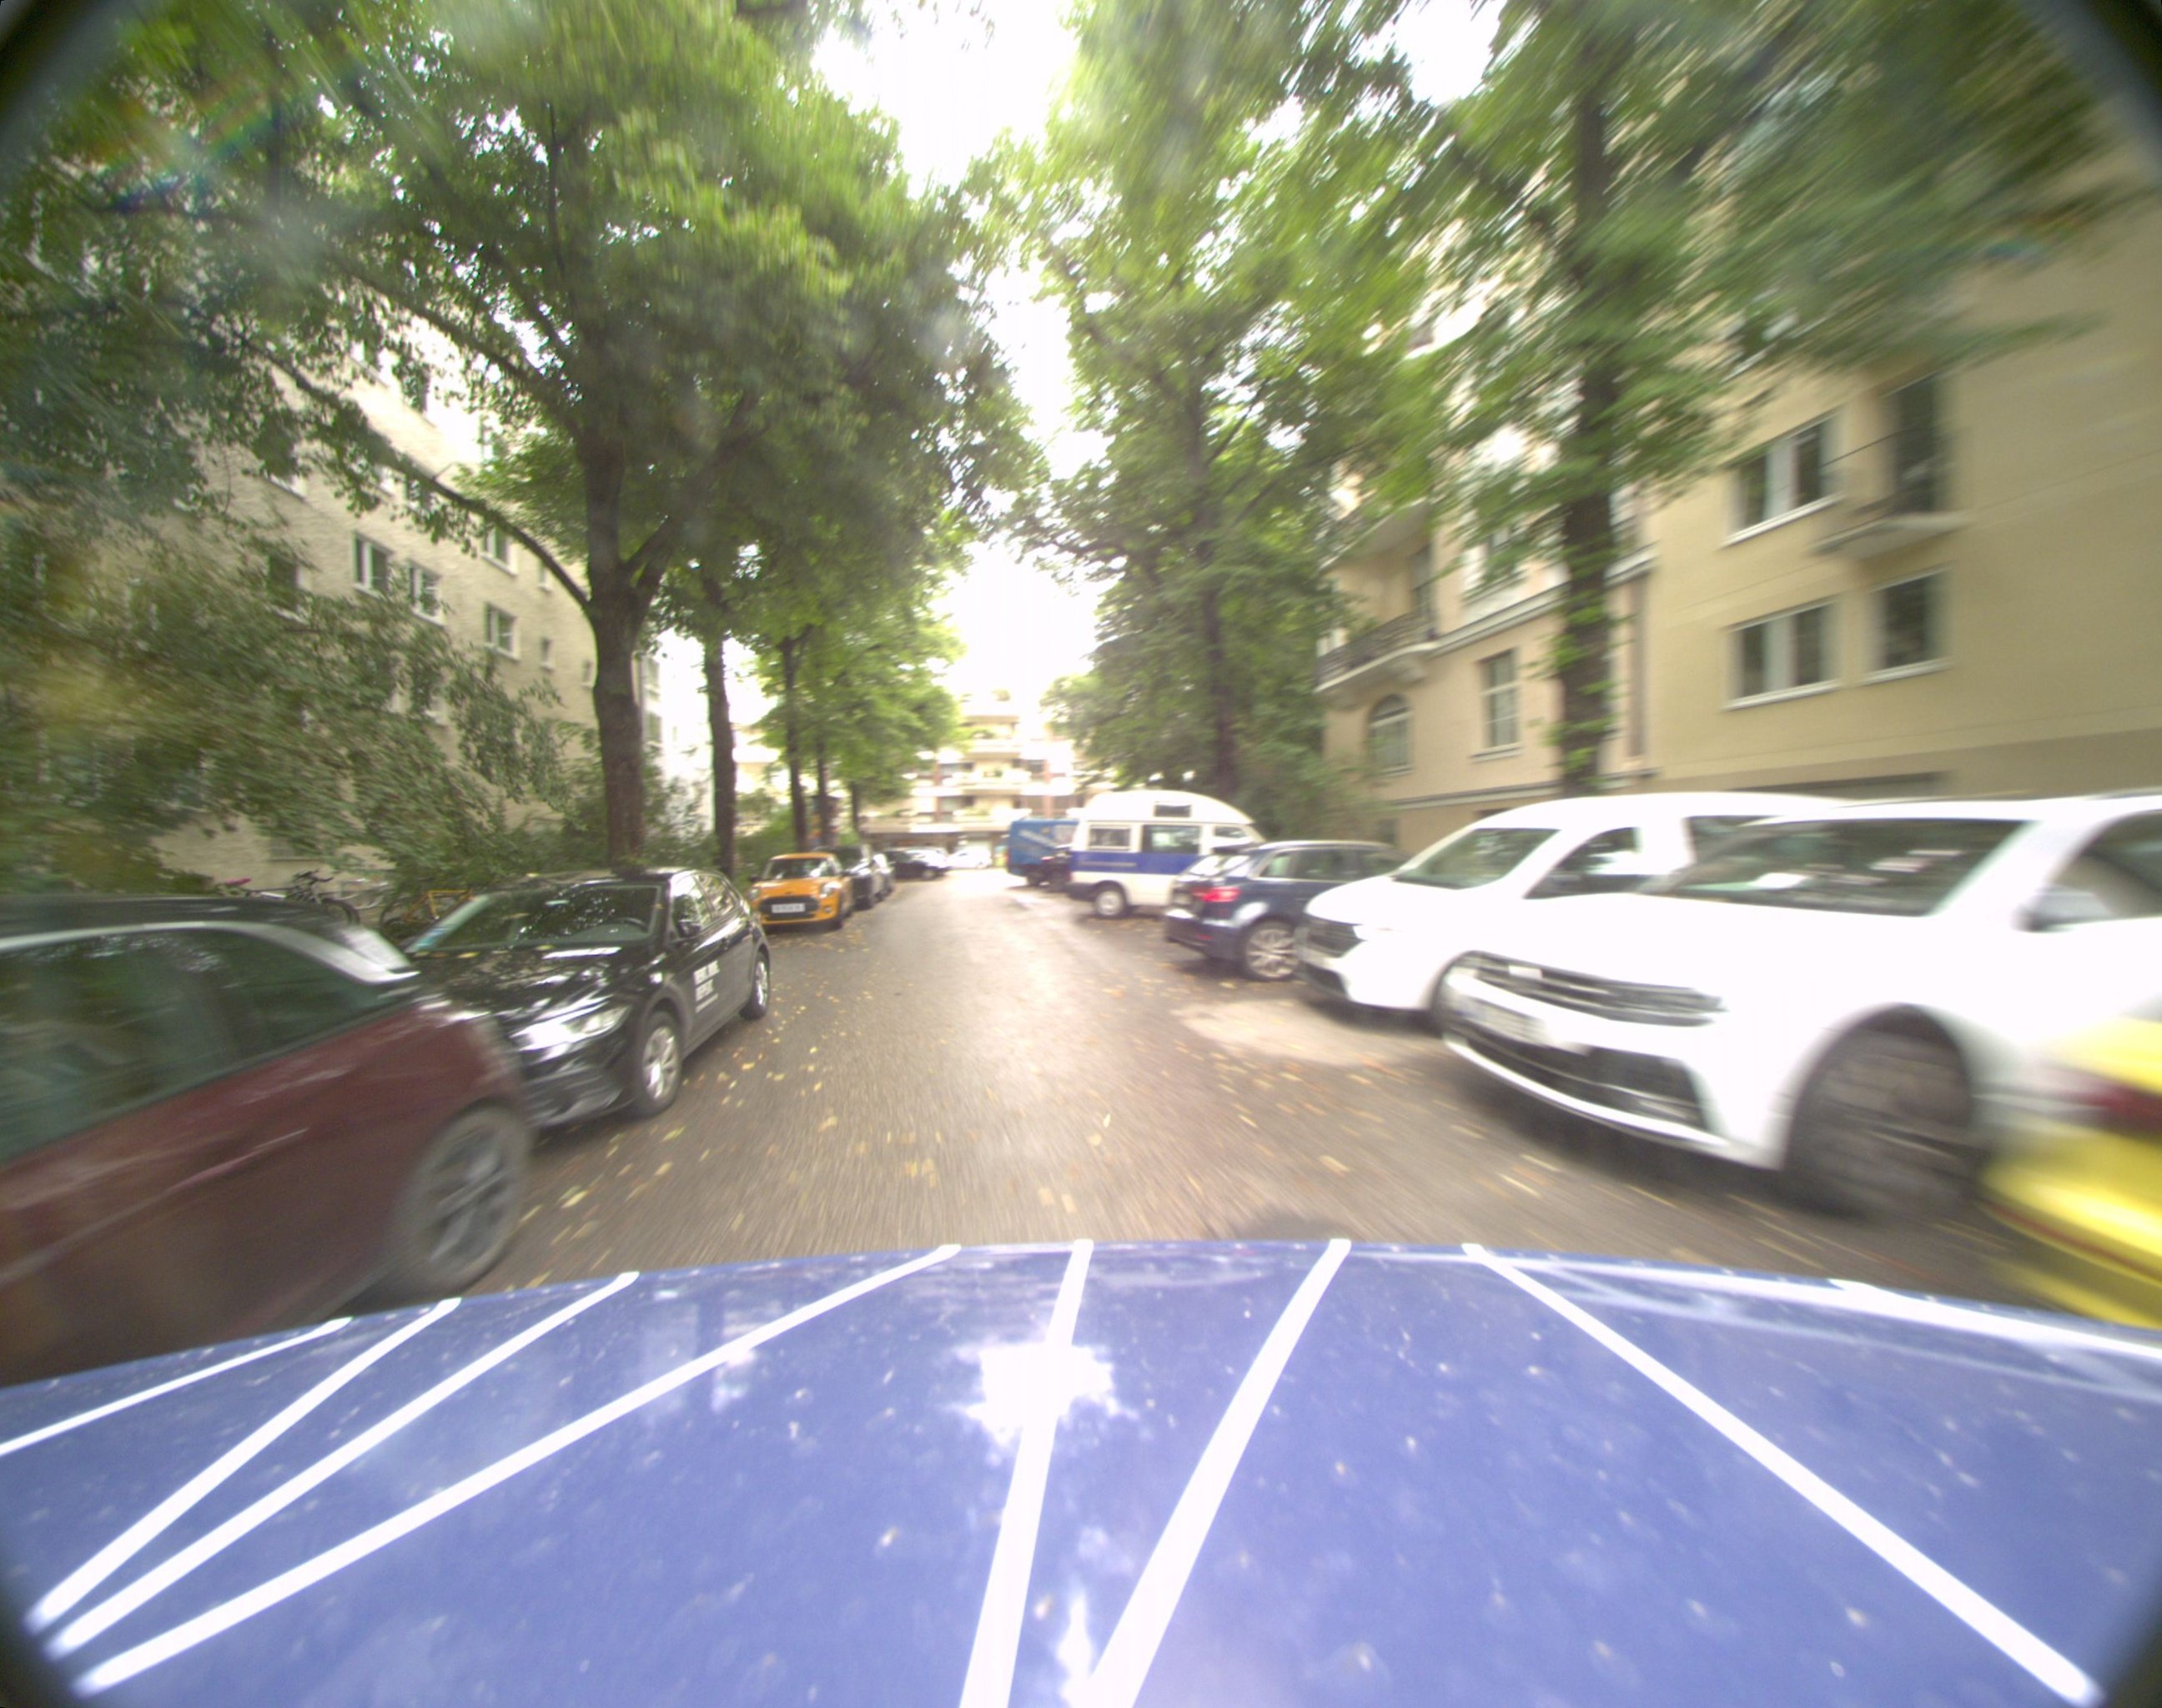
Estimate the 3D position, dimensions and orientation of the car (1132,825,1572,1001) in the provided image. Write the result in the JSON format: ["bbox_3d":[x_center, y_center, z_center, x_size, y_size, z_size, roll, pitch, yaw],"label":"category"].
[{"bbox_3d":[2.875,0.542,8.509,4.246,1.590,1.916,-1,1,-10],"label":"car"}]

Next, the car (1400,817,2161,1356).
[{"bbox_3d":[4.027,0.659,3.640,4.246,1.611,1.916,-1,1,-11],"label":"car"}]

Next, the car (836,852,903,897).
[{"bbox_3d":[-7.114,0.647,25.856,1.698,1.351,3.753,-1,1,-8],"label":"car"}]

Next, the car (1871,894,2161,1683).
[{"bbox_3d":[4.241,0.818,1.368,4.246,1.459,1.916,-1,1,-11],"label":"car"}]

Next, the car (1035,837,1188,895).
[{"bbox_3d":[0.909,0.333,22.724,4.098,1.594,1.907,-1,1,28],"label":"car"}]

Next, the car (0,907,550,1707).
[{"bbox_3d":[-2.886,1.004,1.199,1.733,1.488,3.706,-1,1,-6],"label":"car"}]

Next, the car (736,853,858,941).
[{"bbox_3d":[-5.423,0.736,14.957,1.698,1.430,3.772,-2,1,-13],"label":"car"}]

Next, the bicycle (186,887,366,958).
[{"bbox_3d":[-11.887,0.990,11.282,1.760,0.908,0.532,-2,1,-18],"label":"bicycle"}]

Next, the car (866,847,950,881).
[{"bbox_3d":[-8.061,0.449,35.538,3.692,1.470,1.853,-2,1,-12],"label":"car"}]

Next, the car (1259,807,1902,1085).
[{"bbox_3d":[3.861,0.568,6.226,4.246,1.741,1.916,-1,1,-10],"label":"car"}]

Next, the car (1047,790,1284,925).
[{"bbox_3d":[1.661,0.084,14.398,4.173,2.300,1.906,-1,1,14],"label":"car"}]

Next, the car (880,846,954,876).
[{"bbox_3d":[-8.669,0.364,40.287,3.692,1.470,1.853,-2,1,-12],"label":"car"}]

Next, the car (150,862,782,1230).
[{"bbox_3d":[-3.520,0.863,5.458,1.734,1.488,4.042,-2,1,-10],"label":"car"}]

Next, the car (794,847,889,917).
[{"bbox_3d":[-6.100,0.628,19.790,1.697,1.589,4.104,-1,1,-8],"label":"car"}]

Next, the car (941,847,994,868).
[{"bbox_3d":[-8.174,0.237,55.052,3.691,1.348,1.853,-1,1,-8],"label":"car"}]

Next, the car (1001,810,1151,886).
[{"bbox_3d":[-0.166,-0.176,25.977,4.679,2.398,1.982,-1,1,25],"label":"car"}]

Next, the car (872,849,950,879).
[{"bbox_3d":[-8.463,0.481,38.015,3.692,1.385,1.853,-2,1,-12],"label":"car"}]

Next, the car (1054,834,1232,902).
[{"bbox_3d":[1.588,0.343,19.544,4.098,1.594,1.907,-1,1,28],"label":"car"}]
